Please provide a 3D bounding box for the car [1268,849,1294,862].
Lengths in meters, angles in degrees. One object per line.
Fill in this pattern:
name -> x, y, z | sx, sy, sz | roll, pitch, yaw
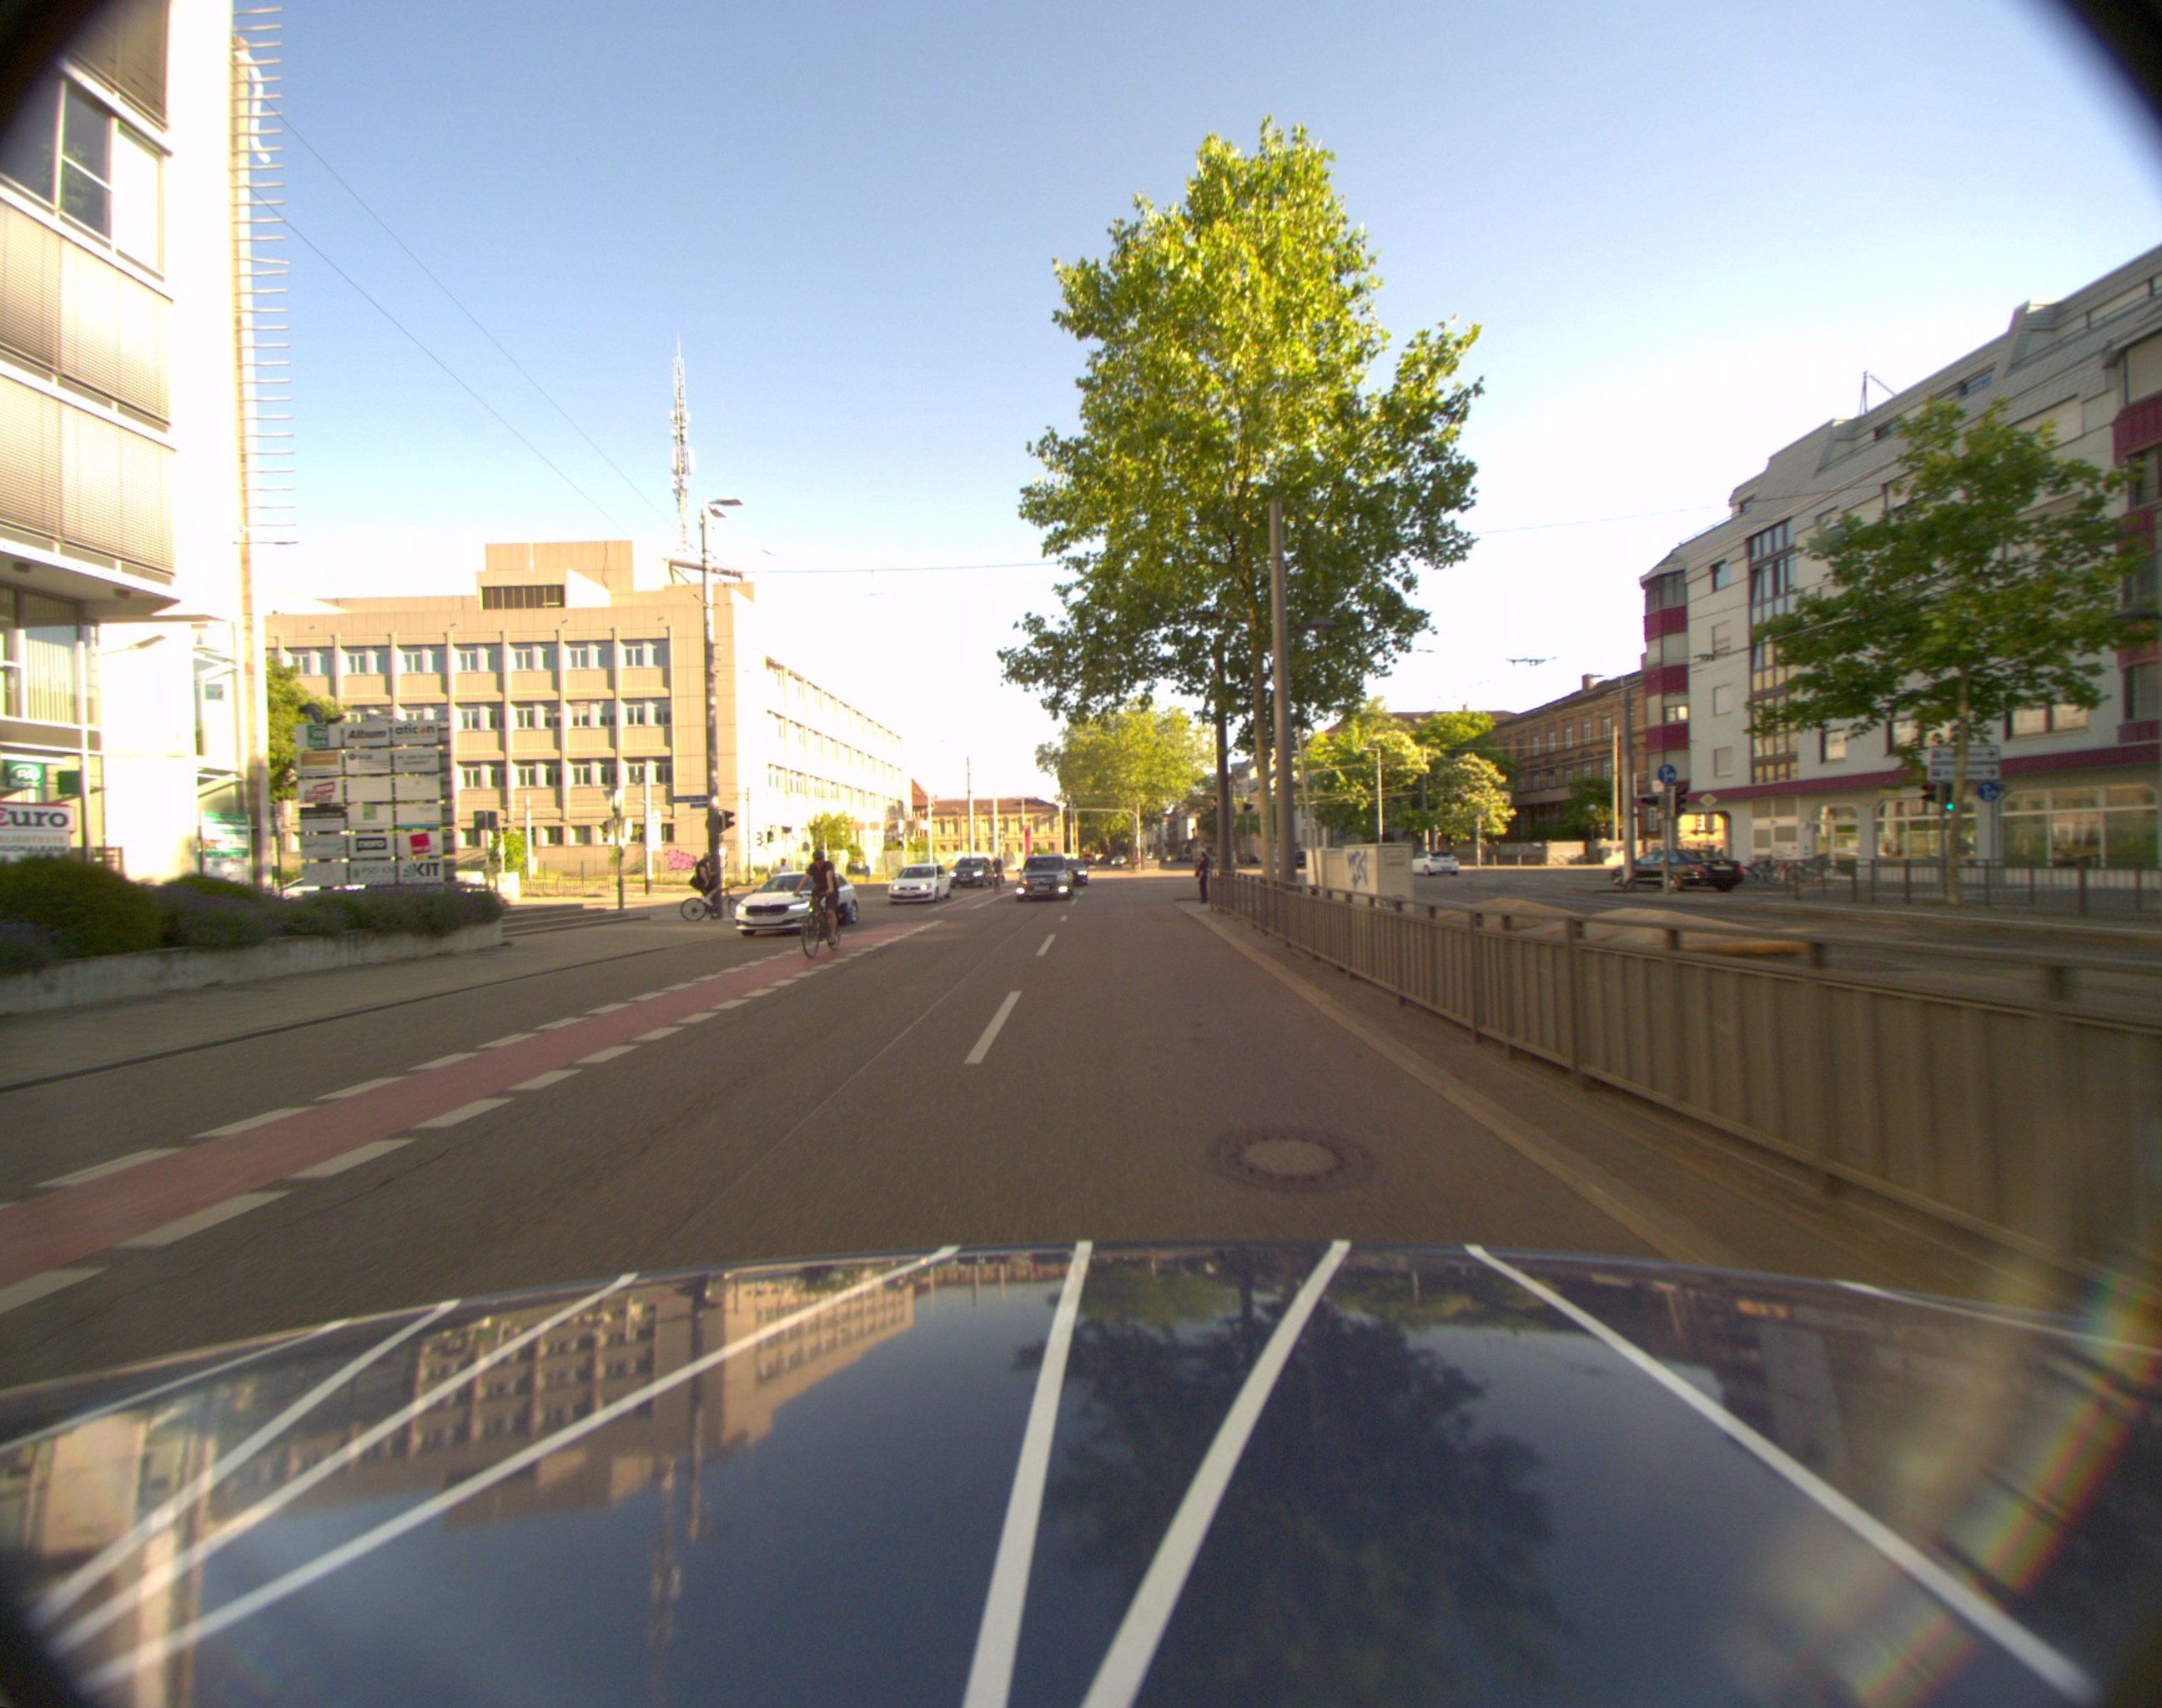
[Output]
car -> 24.595, 0.148, 93.550 | 2.087, 1.481, 3.996 | -4, 0, -2

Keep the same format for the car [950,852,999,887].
car -> -5.679, 0.786, 40.975 | 1.793, 1.634, 4.301 | -4, 0, 2

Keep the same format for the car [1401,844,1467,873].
car -> 20.407, 0.240, 44.133 | 1.960, 1.586, 4.261 | -1, 0, 1

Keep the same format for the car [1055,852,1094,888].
car -> -0.273, 0.780, 39.560 | 1.793, 1.694, 4.301 | -4, 0, 2

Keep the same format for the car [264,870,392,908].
car -> -35.351, 1.617, 35.768 | 3.997, 1.603, 2.000 | -1, 0, 1

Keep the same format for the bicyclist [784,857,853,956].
bicyclist -> -4.413, 0.851, 12.834 | 0.651, 1.593, 1.089 | -1, 1, 6

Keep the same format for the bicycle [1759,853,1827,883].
bicycle -> 24.611, 0.491, 26.291 | 1.848, 0.979, 0.553 | -1, 1, -1

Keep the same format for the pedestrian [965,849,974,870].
pedestrian -> -9.444, 0.495, 64.392 | 0.592, 1.752, 0.770 | -1, 1, 6

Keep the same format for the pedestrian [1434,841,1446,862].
pedestrian -> 29.560, -0.225, 62.604 | 0.570, 1.655, 0.630 | -4, 1, -27

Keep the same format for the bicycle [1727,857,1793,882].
bicycle -> 24.622, 0.555, 27.566 | 1.847, 0.849, 0.553 | -1, 1, 4

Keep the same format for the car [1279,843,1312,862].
car -> 20.184, -0.132, 71.626 | 1.960, 1.663, 4.260 | -1, 0, 0

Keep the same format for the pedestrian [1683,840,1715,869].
pedestrian -> 30.366, 0.030, 37.336 | 0.859, 1.376, 0.836 | -1, 1, -9

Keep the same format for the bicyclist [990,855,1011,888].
bicyclist -> -3.641, 0.777, 34.335 | 0.727, 1.414, 0.859 | -2, 1, 5

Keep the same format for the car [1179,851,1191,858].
car -> 23.869, 0.164, 174.563 | 2.087, 1.531, 4.516 | -4, 0, -2

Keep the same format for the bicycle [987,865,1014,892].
bicycle -> -3.637, 1.098, 34.313 | 0.764, 1.137, 2.307 | -1, 0, 5

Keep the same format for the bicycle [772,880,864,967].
bicycle -> -4.393, 1.126, 12.864 | 0.651, 1.273, 1.967 | -1, 0, 6

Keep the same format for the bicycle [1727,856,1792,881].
bicycle -> 25.244, 0.538, 28.273 | 1.847, 0.849, 0.553 | -1, 1, 4

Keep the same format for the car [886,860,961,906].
car -> -6.029, 1.071, 29.531 | 1.793, 1.493, 4.301 | -4, 0, 2

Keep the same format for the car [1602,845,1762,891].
car -> 20.158, 0.408, 25.781 | 1.704, 1.391, 4.650 | -1, 0, -1

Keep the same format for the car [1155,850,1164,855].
car -> 24.584, -0.442, 238.146 | 2.087, 1.531, 4.119 | -4, 0, -2

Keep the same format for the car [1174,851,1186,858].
car -> 24.407, 0.142, 187.660 | 2.087, 1.531, 5.104 | -4, 0, -2

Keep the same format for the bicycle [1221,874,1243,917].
bicycle -> 3.455, 0.932, 17.430 | 0.396, 0.943, 1.352 | -1, -2, 7

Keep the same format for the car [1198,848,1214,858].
car -> 24.943, -0.188, 151.709 | 2.087, 1.664, 4.532 | -4, 0, -2

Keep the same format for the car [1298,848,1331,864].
car -> 24.778, 0.200, 80.664 | 2.087, 1.610, 4.097 | -4, 0, -2

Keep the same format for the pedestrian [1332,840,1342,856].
pedestrian -> 28.515, -0.676, 84.749 | 0.736, 1.742, 1.019 | -1, 1, -1

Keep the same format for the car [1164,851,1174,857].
car -> 24.595, -0.065, 212.486 | 2.087, 1.531, 4.255 | -4, 0, -2

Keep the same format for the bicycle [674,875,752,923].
bicycle -> -10.275, 1.245, 21.222 | 1.870, 1.273, 0.650 | 1, -1, -35

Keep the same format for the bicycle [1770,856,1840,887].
bicycle -> 24.476, 0.578, 25.688 | 1.848, 0.979, 0.553 | -1, 1, -1

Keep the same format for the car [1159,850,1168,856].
car -> 24.146, -0.347, 222.798 | 2.087, 1.531, 4.008 | -4, 0, -2

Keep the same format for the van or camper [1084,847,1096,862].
van or camper -> 1.730, 0.107, 141.749 | 1.998, 2.578, 5.626 | -3, 0, 2

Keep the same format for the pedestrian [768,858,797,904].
pedestrian -> -12.024, 1.060, 30.619 | 0.780, 1.813, 1.215 | -1, 1, -9

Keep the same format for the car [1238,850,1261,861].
car -> 24.491, 0.229, 110.470 | 2.087, 1.462, 4.578 | -4, 0, -2

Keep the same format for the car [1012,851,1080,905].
car -> -1.151, 0.782, 27.381 | 1.908, 1.634, 4.517 | -4, 0, 3

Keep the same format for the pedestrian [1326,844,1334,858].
pedestrian -> 27.267, -0.315, 83.285 | 0.537, 1.519, 0.711 | -1, 1, -6

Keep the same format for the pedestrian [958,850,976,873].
pedestrian -> -8.953, 0.580, 59.732 | 1.084, 1.802, 0.734 | -3, 2, -42

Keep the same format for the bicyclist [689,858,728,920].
bicyclist -> -10.393, 0.960, 21.183 | 0.865, 1.662, 0.650 | -1, 1, -34

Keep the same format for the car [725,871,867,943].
car -> -6.674, 1.178, 18.307 | 1.705, 1.381, 4.075 | -2, 0, 2

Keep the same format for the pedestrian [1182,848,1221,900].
pedestrian -> 3.589, 0.595, 22.650 | 1.047, 1.535, 0.695 | -1, 1, 17
